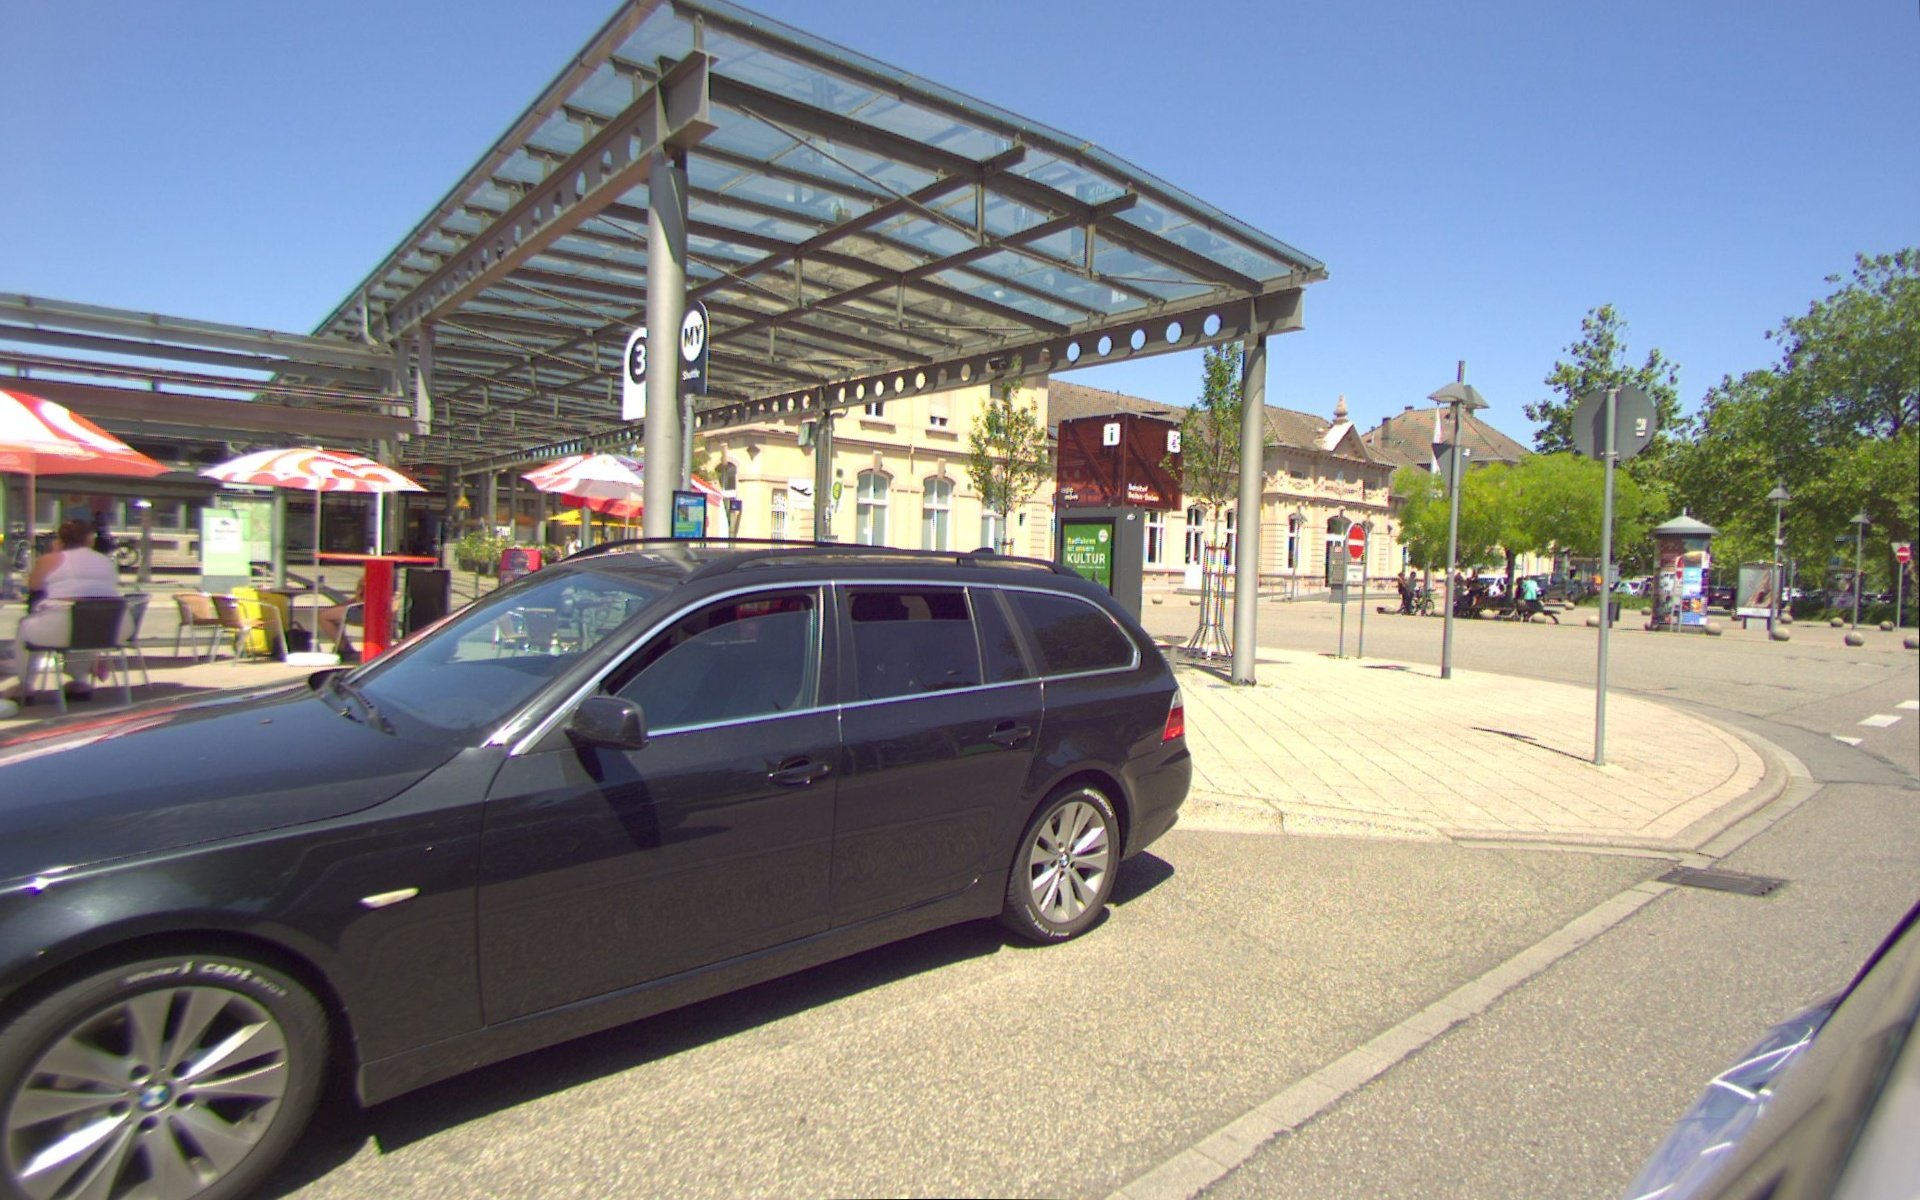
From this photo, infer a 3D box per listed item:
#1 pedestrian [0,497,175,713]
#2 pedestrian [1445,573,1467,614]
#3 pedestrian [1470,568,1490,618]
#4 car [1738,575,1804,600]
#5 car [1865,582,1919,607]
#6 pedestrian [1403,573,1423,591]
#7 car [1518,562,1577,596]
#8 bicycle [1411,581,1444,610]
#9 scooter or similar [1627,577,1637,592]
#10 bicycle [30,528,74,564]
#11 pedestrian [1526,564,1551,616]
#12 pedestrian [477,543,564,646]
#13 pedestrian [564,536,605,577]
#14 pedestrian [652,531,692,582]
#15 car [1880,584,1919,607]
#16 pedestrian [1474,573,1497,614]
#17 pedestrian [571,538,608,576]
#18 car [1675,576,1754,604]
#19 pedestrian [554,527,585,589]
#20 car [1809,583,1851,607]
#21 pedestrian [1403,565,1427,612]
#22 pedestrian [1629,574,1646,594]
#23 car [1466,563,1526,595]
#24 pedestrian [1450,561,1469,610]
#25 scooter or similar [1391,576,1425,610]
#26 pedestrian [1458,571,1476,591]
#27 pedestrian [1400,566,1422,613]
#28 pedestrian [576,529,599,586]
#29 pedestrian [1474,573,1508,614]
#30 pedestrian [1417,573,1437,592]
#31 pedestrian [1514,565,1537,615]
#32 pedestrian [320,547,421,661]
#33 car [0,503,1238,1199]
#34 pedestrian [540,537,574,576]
[{"bbox_3d":[-6.247,0.012,7.167,0.881,1.435,0.686,2,2,13],"label":"pedestrian"},{"bbox_3d":[17.195,-0.222,35.095,0.592,1.381,0.595,2,2,21],"label":"pedestrian"},{"bbox_3d":[18.853,-0.269,36.700,0.579,1.761,0.595,2,2,24],"label":"pedestrian"},{"bbox_3d":[60.436,-0.948,75.469,1.768,1.624,4.061,0,3,4],"label":"car"},{"bbox_3d":[58.899,-0.307,62.080,4.741,1.434,1.767,3,2,31],"label":"car"},{"bbox_3d":[30.201,-1.195,67.488,0.838,1.092,0.880,0,4,-44],"label":"pedestrian"},{"bbox_3d":[40.085,-1.411,68.974,2.087,2.151,5.732,2,1,44],"label":"car"},{"bbox_3d":[17.896,-0.178,38.694,1.916,1.073,0.421,-1,3,-43],"label":"bicycle"},{"bbox_3d":[50.336,-1.132,75.796,0.395,1.115,0.438,2,2,-4],"label":"scooter or similar"},{"bbox_3d":[-27.566,-1.614,30.748,0.950,1.016,2.790,-1,1,-42],"label":"bicycle"},{"bbox_3d":[20.268,-0.354,35.440,0.688,1.785,0.578,3,2,32],"label":"pedestrian"},{"bbox_3d":[-5.764,-0.086,13.274,0.878,1.293,0.848,0,2,-36],"label":"pedestrian"},{"bbox_3d":[-13.461,-1.566,36.284,1.043,1.369,0.968,5,5,29],"label":"pedestrian"},{"bbox_3d":[-10.789,-1.630,37.914,1.064,1.869,1.081,0,2,-42],"label":"pedestrian"},{"bbox_3d":[66.085,-0.260,69.510,3.831,1.478,1.625,3,2,22],"label":"car"},{"bbox_3d":[17.998,-0.222,34.687,0.592,1.381,0.595,2,2,21],"label":"pedestrian"},{"bbox_3d":[-13.812,-1.612,37.720,1.033,1.369,0.977,-2,6,-38],"label":"pedestrian"},{"bbox_3d":[48.227,-0.657,64.809,1.768,1.561,4.529,0,3,3],"label":"car"},{"bbox_3d":[-11.814,-1.268,30.643,0.590,1.831,0.626,2,2,24],"label":"pedestrian"},{"bbox_3d":[75.379,-0.462,87.739,1.722,1.917,3.965,3,2,26],"label":"car"},{"bbox_3d":[16.821,-0.424,37.421,0.616,1.706,0.583,3,2,38],"label":"pedestrian"},{"bbox_3d":[50.301,-1.188,75.144,0.785,1.442,0.692,2,2,-4],"label":"pedestrian"},{"bbox_3d":[34.232,-1.303,64.537,5.052,1.889,1.811,1,1,-43],"label":"car"},{"bbox_3d":[17.967,-0.528,36.416,0.506,1.761,0.567,2,2,20],"label":"pedestrian"},{"bbox_3d":[15.935,-0.255,36.014,1.025,1.153,0.290,3,3,43],"label":"scooter or similar"},{"bbox_3d":[36.854,-1.390,73.541,0.838,1.387,0.880,0,4,-44],"label":"pedestrian"},{"bbox_3d":[16.442,-0.391,36.921,0.552,1.706,0.579,3,2,38],"label":"pedestrian"},{"bbox_3d":[-12.217,-1.395,33.171,0.618,1.831,0.692,1,2,-24],"label":"pedestrian"},{"bbox_3d":[18.699,-0.252,35.673,0.901,1.403,0.938,2,2,20],"label":"pedestrian"},{"bbox_3d":[30.843,-1.172,66.800,0.838,1.176,0.880,0,4,-44],"label":"pedestrian"},{"bbox_3d":[20.267,-0.372,36.279,0.621,1.761,0.543,2,2,24],"label":"pedestrian"},{"bbox_3d":[-6.392,0.024,10.972,0.878,1.175,0.688,0,2,-36],"label":"pedestrian"},{"bbox_3d":[-1.169,0.501,3.732,4.643,1.477,1.931,-1,6,-41],"label":"car"},{"bbox_3d":[-15.220,-1.651,38.232,0.957,1.369,1.054,1,5,-6],"label":"pedestrian"}]
